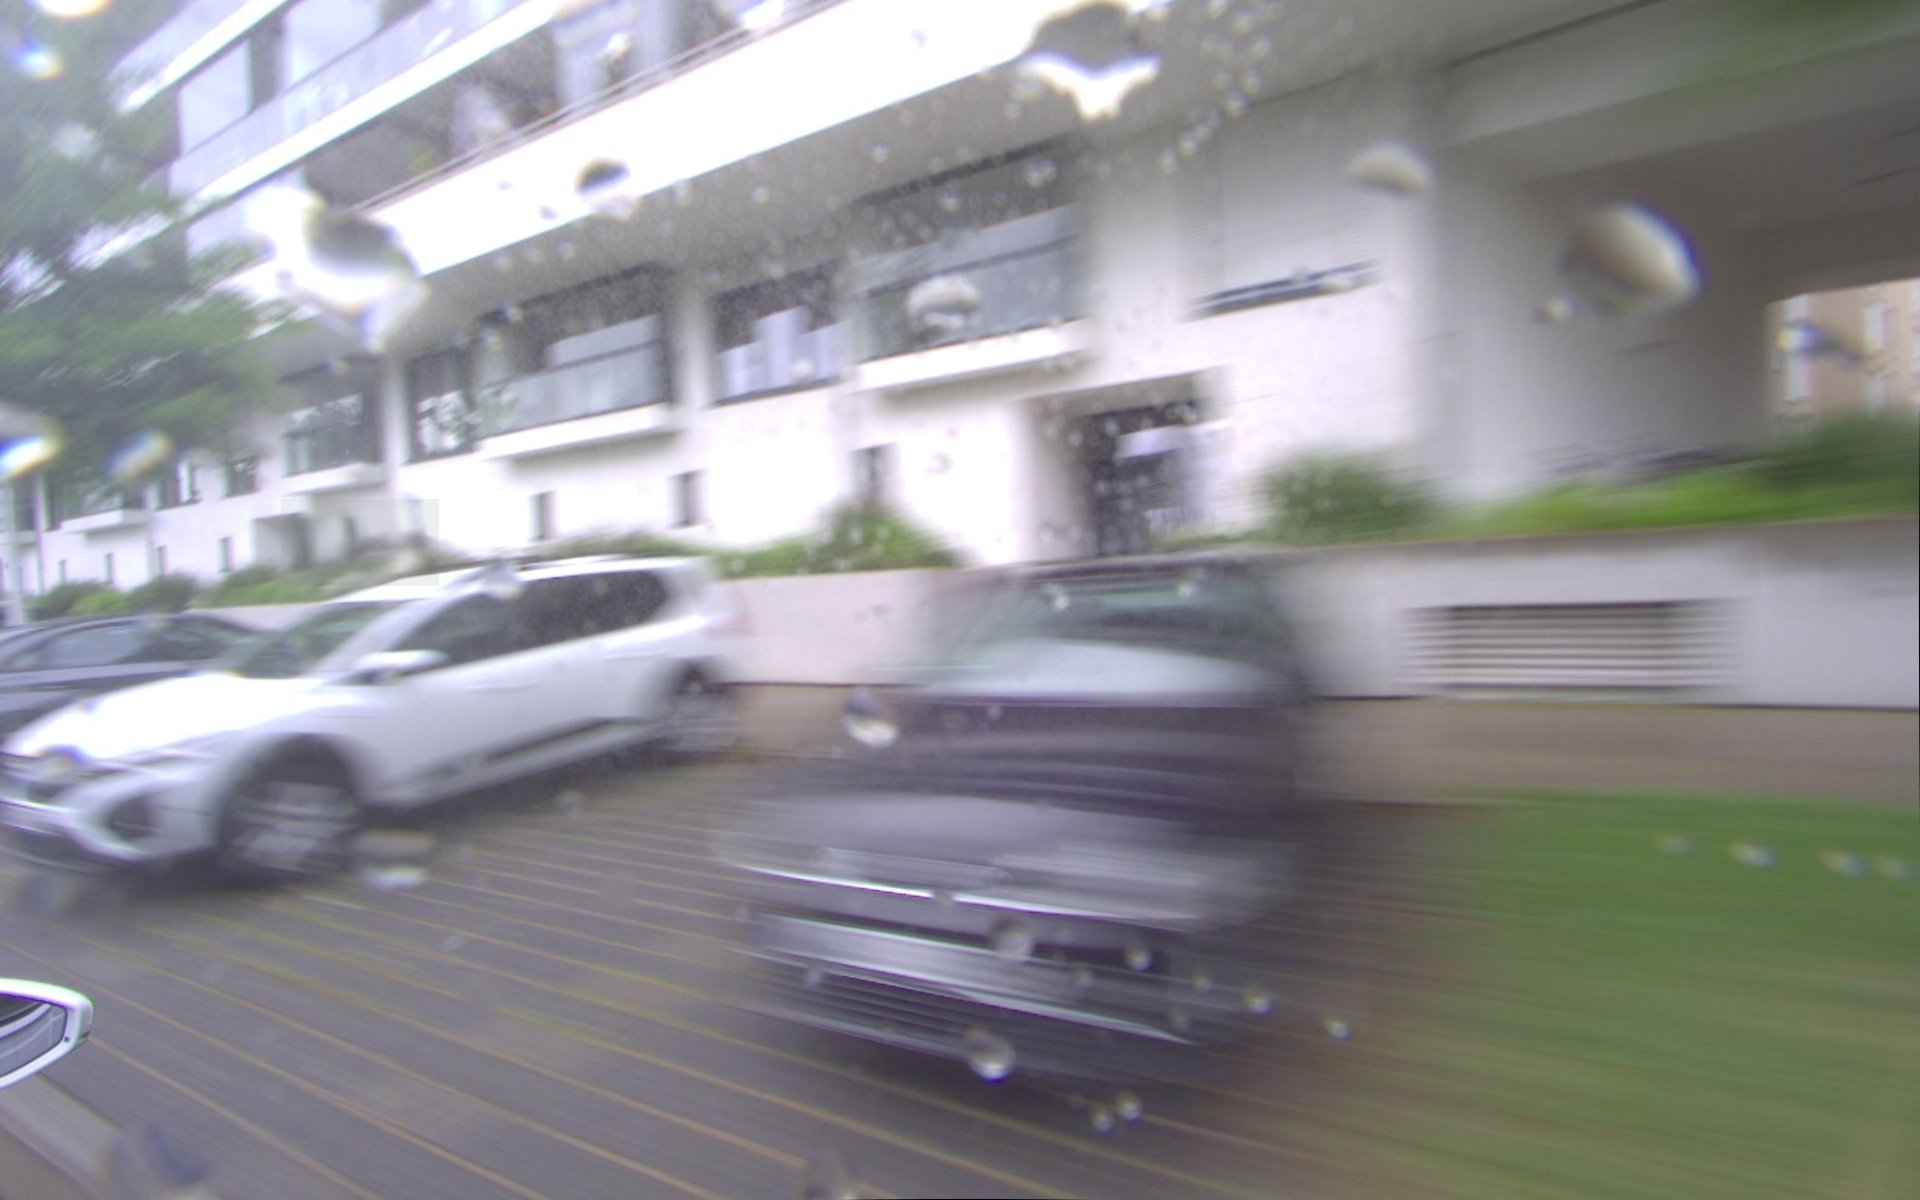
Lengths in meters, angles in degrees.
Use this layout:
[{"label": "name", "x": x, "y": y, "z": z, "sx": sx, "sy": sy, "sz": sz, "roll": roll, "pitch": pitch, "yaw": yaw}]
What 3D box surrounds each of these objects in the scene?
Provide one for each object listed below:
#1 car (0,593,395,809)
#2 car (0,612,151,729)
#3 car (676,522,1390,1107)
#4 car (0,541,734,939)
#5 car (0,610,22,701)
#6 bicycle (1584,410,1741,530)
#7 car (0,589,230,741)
[{"label": "car", "x": -7.691, "y": 0.818, "z": 9.212, "sx": 1.660, "sy": 1.531, "sz": 3.976, "roll": 0, "pitch": 3, "yaw": 32}, {"label": "car", "x": -13.741, "y": 1.048, "z": 13.310, "sx": 1.613, "sy": 1.448, "sz": 4.289, "roll": -2, "pitch": 3, "yaw": 30}, {"label": "car", "x": 0.825, "y": 0.458, "z": 4.828, "sx": 1.907, "sy": 1.517, "sz": 3.978, "roll": -1, "pitch": 4, "yaw": 29}, {"label": "car", "x": -3.915, "y": 0.566, "z": 7.042, "sx": 1.907, "sy": 1.711, "sz": 4.464, "roll": -1, "pitch": 4, "yaw": 31}, {"label": "car", "x": -17.767, "y": 1.068, "z": 15.753, "sx": 1.607, "sy": 1.519, "sz": 4.022, "roll": -2, "pitch": 3, "yaw": 29}, {"label": "bicycle", "x": 8.563, "y": -1.493, "z": 12.131, "sx": 2.934, "sy": 1.133, "sz": 0.907, "roll": -1, "pitch": 0, "yaw": -42}, {"label": "car", "x": -11.811, "y": 0.827, "z": 12.267, "sx": 1.869, "sy": 1.647, "sz": 4.153, "roll": -2, "pitch": 3, "yaw": 30}]
